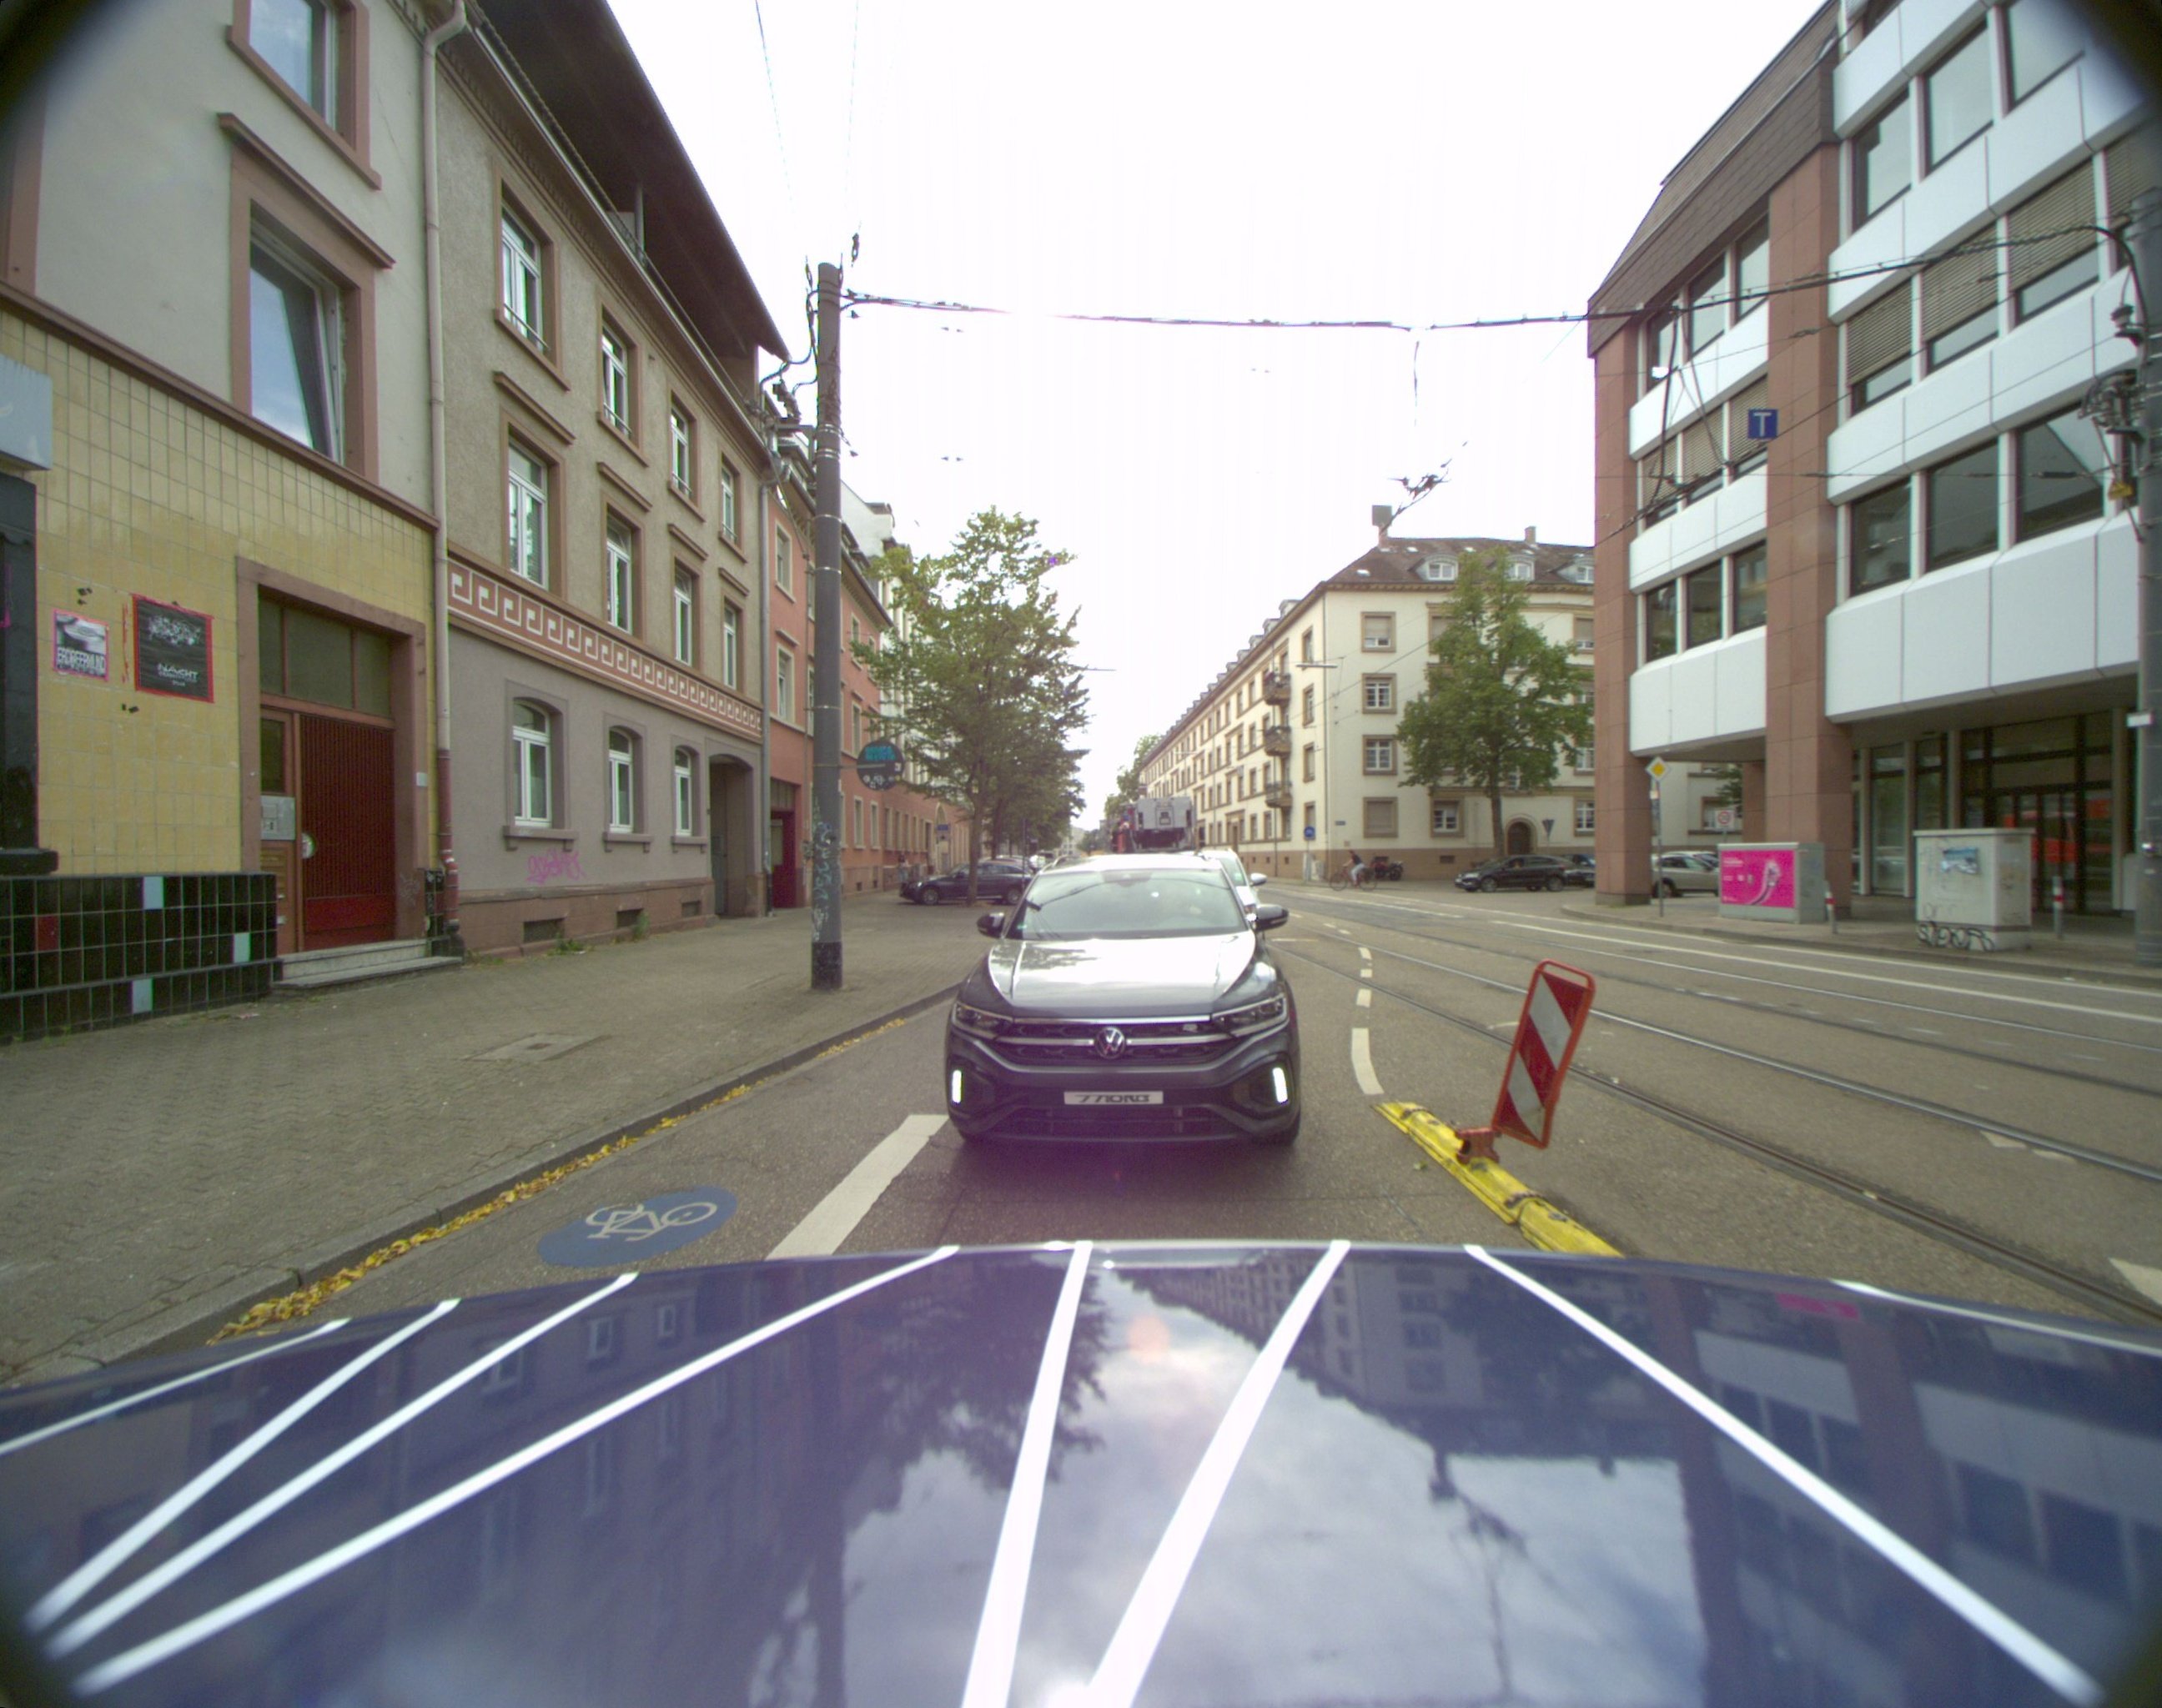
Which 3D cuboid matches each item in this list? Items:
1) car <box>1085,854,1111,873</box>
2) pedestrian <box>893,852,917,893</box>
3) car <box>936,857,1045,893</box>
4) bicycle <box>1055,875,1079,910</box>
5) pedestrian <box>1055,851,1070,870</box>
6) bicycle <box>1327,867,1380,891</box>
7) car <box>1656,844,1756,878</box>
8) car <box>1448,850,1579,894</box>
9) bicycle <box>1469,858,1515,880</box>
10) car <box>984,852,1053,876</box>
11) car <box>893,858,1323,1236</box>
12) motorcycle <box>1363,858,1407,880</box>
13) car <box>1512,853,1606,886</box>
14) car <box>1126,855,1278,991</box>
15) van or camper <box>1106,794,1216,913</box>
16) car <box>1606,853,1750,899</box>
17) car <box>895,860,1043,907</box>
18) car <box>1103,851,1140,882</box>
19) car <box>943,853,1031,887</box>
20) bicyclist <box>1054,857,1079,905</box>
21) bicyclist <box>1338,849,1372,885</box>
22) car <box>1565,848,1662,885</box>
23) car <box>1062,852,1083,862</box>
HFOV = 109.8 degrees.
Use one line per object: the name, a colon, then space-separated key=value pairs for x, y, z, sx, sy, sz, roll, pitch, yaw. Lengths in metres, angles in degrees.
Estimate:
car: x=1.341 y=0.724 z=61.413 sx=1.911 sy=1.478 sz=3.999 roll=-1 pitch=0 yaw=-2
pedestrian: x=-7.403 y=0.768 z=32.022 sx=0.732 sy=1.678 sz=0.926 roll=3 pitch=0 yaw=-1
car: x=-3.912 y=0.896 z=32.811 sx=4.351 sy=1.471 sz=1.786 roll=1 pitch=0 yaw=-24
bicycle: x=-0.452 y=1.209 z=24.502 sx=0.714 sy=1.012 sz=1.800 roll=-2 pitch=0 yaw=-2
pedestrian: x=-1.790 y=0.614 z=72.157 sx=1.016 sy=1.831 sz=1.003 roll=0 pitch=1 yaw=40
bicycle: x=11.058 y=1.008 z=30.886 sx=2.008 sy=0.959 sz=0.674 roll=-1 pitch=-1 yaw=17
car: x=28.487 y=0.300 z=34.748 sx=1.592 sy=1.453 sz=3.524 roll=-1 pitch=0 yaw=-3
car: x=16.720 y=0.681 z=29.561 sx=4.043 sy=1.528 sz=1.776 roll=-2 pitch=0 yaw=9
bicycle: x=20.806 y=0.744 z=38.495 sx=1.924 sy=1.080 sz=0.793 roll=-1 pitch=0 yaw=-1
car: x=-4.517 y=0.759 z=55.321 sx=4.635 sy=1.688 sz=1.913 roll=1 pitch=0 yaw=-24
car: x=0.269 y=0.850 z=5.361 sx=1.773 sy=1.538 sz=4.283 roll=-2 pitch=0 yaw=5
motorcycle: x=15.295 y=0.767 z=38.277 sx=1.924 sy=1.080 sz=0.793 roll=-1 pitch=0 yaw=-1
car: x=21.161 y=0.658 z=33.839 sx=1.611 sy=1.388 sz=3.874 roll=-1 pitch=0 yaw=-3
car: x=1.673 y=0.848 z=11.362 sx=1.772 sy=1.582 sz=4.284 roll=-2 pitch=0 yaw=6
van or camper: x=2.478 y=-0.023 z=26.839 sx=2.607 sy=3.401 sz=9.651 roll=-1 pitch=0 yaw=-1
car: x=19.184 y=0.687 z=24.463 sx=3.650 sy=1.380 sz=1.611 roll=-1 pitch=0 yaw=-9
car: x=-3.787 y=0.959 z=25.711 sx=4.635 sy=1.464 sz=1.786 roll=1 pitch=0 yaw=-24
car: x=2.327 y=0.673 z=44.347 sx=1.998 sy=1.698 sz=4.053 roll=-1 pitch=0 yaw=1
car: x=-4.944 y=0.838 z=39.920 sx=4.245 sy=1.688 sz=1.736 roll=1 pitch=0 yaw=-24
bicyclist: x=-0.466 y=0.853 z=24.463 sx=0.715 sy=1.498 sz=0.918 roll=-3 pitch=0 yaw=-2
bicyclist: x=11.133 y=0.537 z=30.866 sx=1.257 sy=1.453 sz=0.678 roll=-1 pitch=0 yaw=16
car: x=23.561 y=0.523 z=33.802 sx=1.611 sy=1.538 sz=3.715 roll=-1 pitch=0 yaw=-3
car: x=-1.538 y=0.545 z=140.381 sx=1.895 sy=1.806 sz=4.008 roll=0 pitch=0 yaw=34
